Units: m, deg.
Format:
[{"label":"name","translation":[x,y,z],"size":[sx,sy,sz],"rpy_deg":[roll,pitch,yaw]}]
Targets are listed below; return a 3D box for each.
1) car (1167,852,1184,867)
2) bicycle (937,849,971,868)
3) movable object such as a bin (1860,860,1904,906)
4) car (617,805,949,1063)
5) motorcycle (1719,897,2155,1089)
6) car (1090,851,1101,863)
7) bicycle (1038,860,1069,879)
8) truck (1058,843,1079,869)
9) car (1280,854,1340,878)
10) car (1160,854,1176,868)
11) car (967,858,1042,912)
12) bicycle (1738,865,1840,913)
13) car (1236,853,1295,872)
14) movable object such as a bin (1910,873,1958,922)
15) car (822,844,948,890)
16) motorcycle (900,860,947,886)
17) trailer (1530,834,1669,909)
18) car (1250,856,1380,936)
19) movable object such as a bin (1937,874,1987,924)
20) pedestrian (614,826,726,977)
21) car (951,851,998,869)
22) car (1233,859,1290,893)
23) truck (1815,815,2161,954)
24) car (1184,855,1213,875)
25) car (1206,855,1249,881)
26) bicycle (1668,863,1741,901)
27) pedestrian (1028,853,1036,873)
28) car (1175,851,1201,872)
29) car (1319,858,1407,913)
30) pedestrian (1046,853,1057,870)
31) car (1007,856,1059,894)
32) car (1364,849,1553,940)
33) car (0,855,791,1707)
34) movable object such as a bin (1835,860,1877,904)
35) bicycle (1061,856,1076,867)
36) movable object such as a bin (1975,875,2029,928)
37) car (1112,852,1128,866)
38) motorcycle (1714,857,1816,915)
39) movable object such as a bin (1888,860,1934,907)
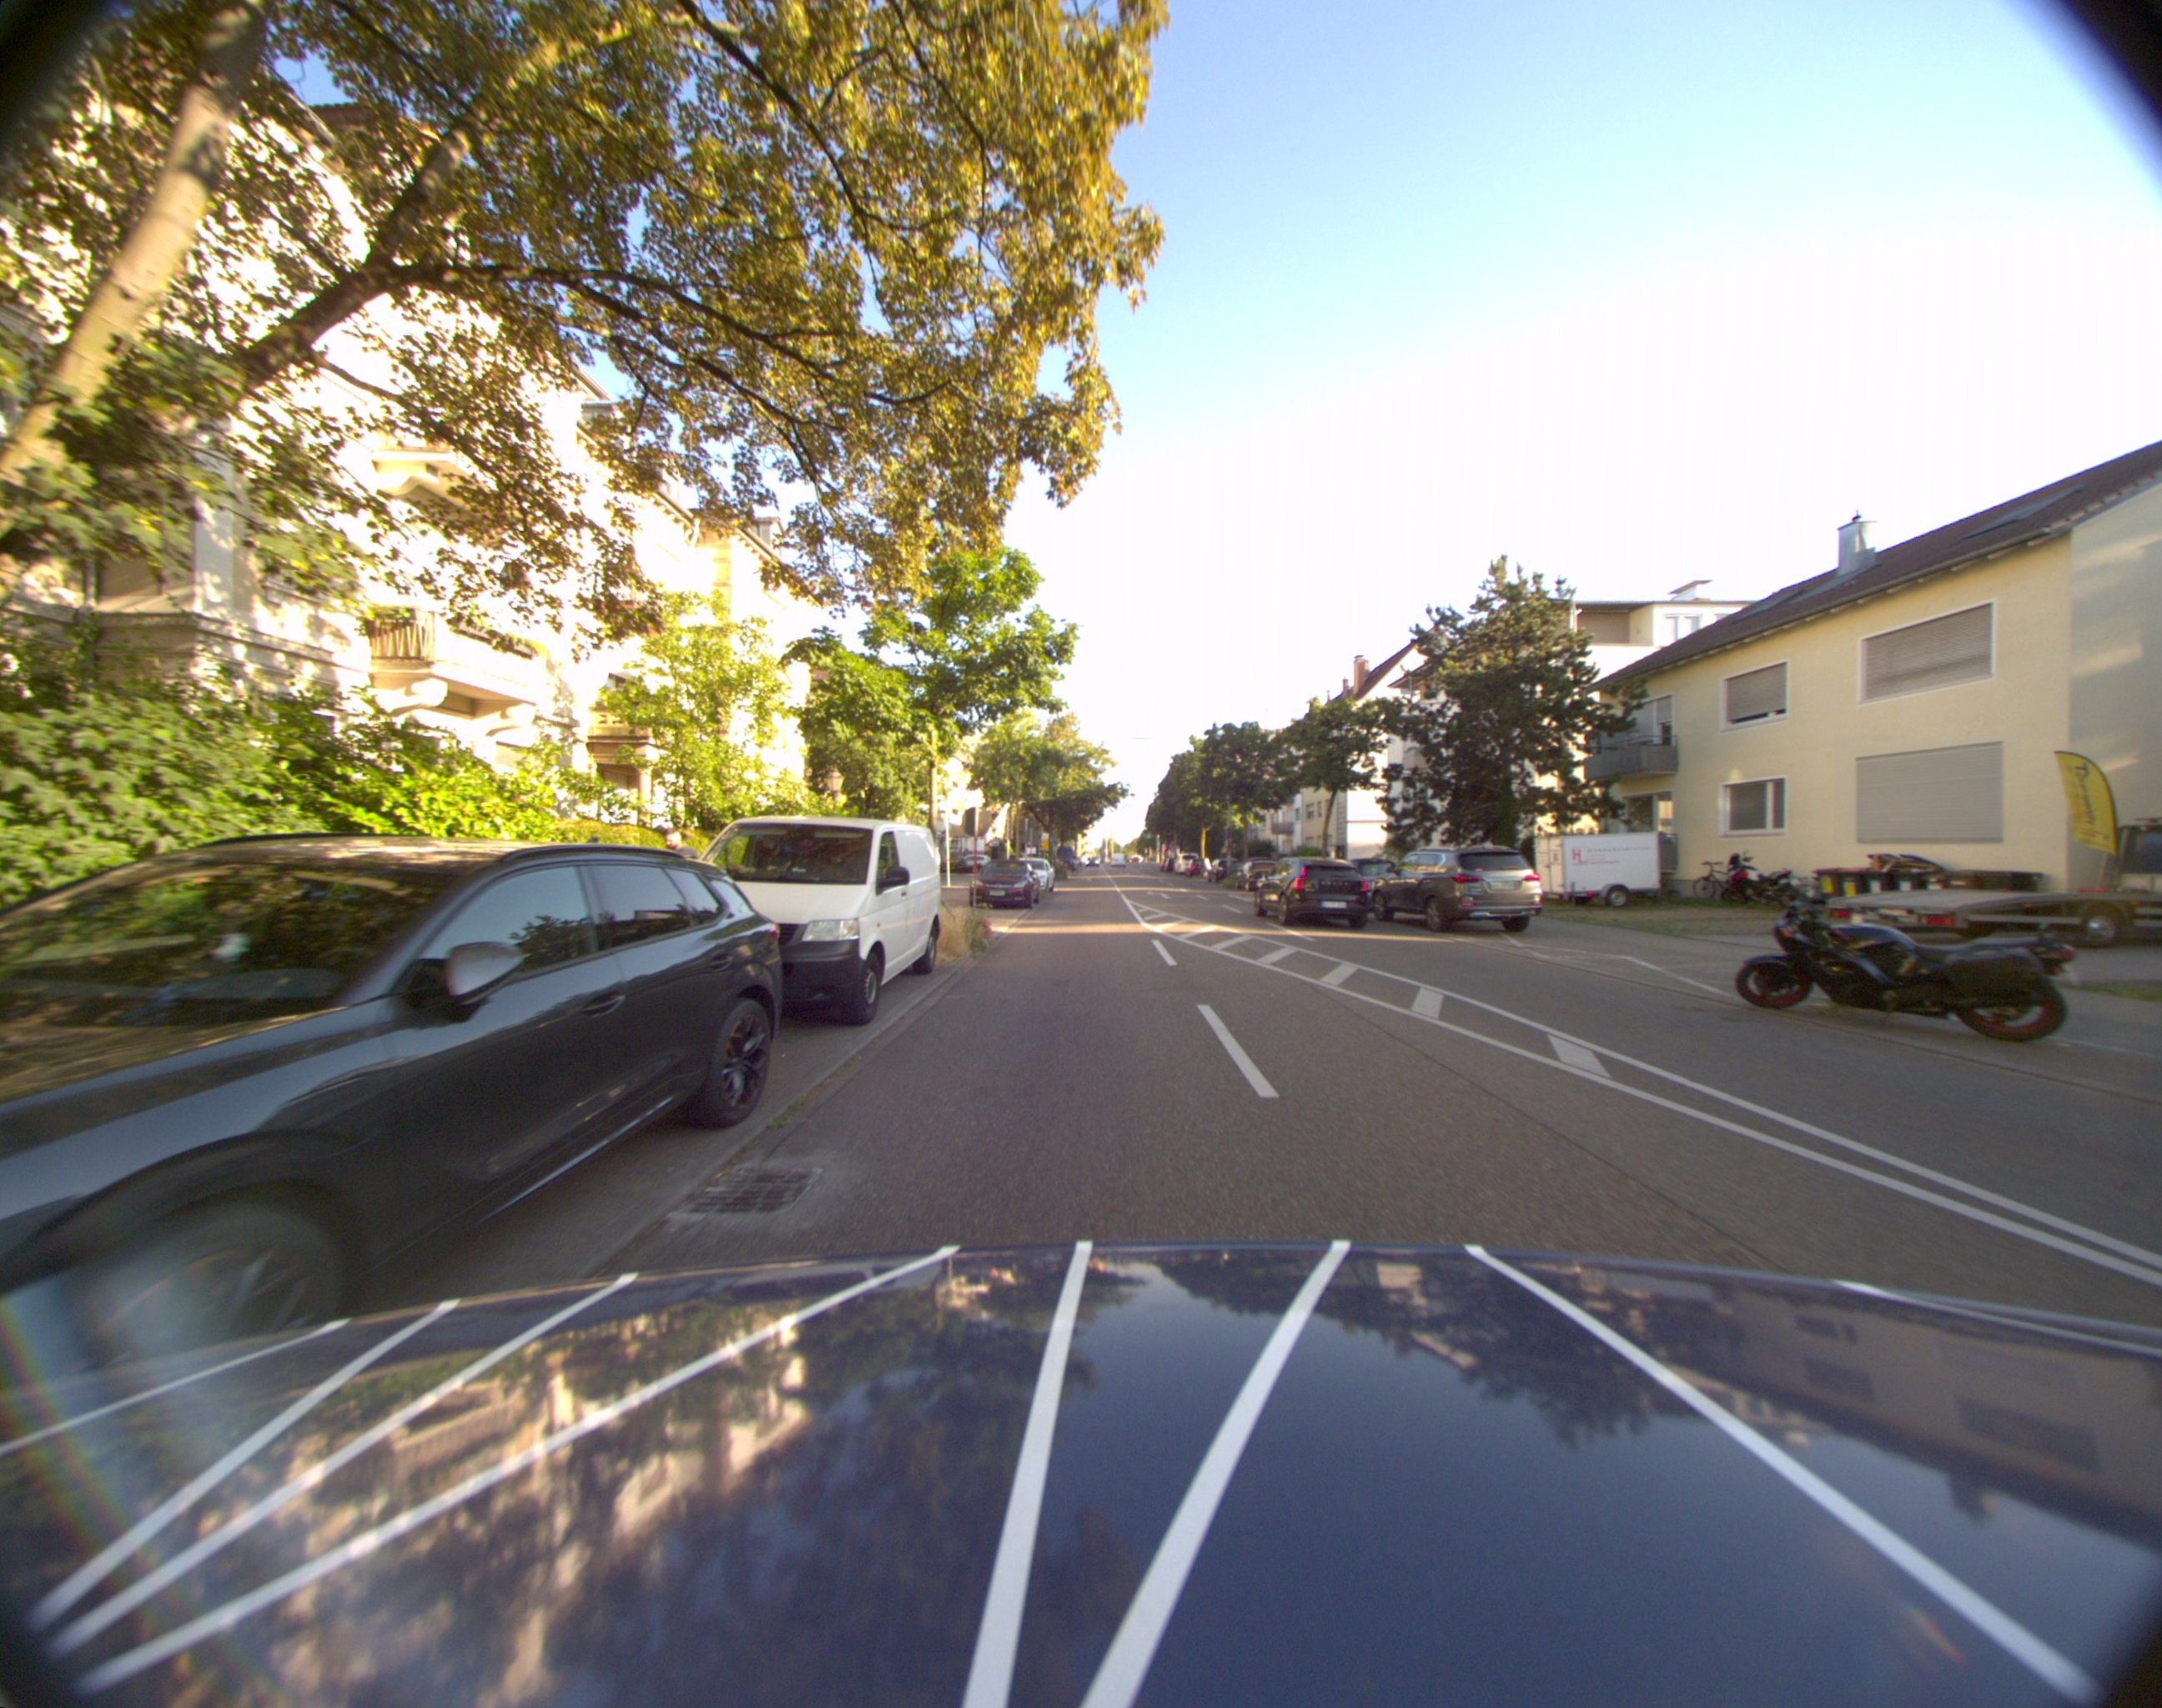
[{"label":"car","translation":[9.507,0.577,76.647],"size":[1.407,1.397,3.683],"rpy_deg":[-2,1,2]},{"label":"bicycle","translation":[-9.926,0.333,59.460],"size":[2.459,1.433,0.928],"rpy_deg":[0,1,-1]},{"label":"movable object such as a bin","translation":[18.256,0.654,17.321],"size":[0.504,1.013,0.450],"rpy_deg":[1,1,0]},{"label":"car","translation":[-2.819,0.646,8.490],"size":[1.908,2.091,4.640],"rpy_deg":[0,0,-1]},{"label":"motorcycle","translation":[7.560,1.105,6.932],"size":[1.184,1.258,2.365],"rpy_deg":[0,0,-23]},{"label":"car","translation":[2.065,0.452,107.419],"size":[1.596,1.696,4.000],"rpy_deg":[0,0,1]},{"label":"bicycle","translation":[-1.768,0.969,48.462],"size":[1.894,1.155,0.616],"rpy_deg":[2,1,28]},{"label":"truck","translation":[-1.255,0.169,78.657],"size":[1.998,2.629,5.616],"rpy_deg":[0,0,1]},{"label":"car","translation":[15.084,0.779,50.165],"size":[3.467,1.515,1.686],"rpy_deg":[0,0,2]},{"label":"car","translation":[9.238,0.741,81.176],"size":[1.407,1.456,3.683],"rpy_deg":[-2,1,2]},{"label":"car","translation":[-2.279,0.896,23.799],"size":[1.761,1.412,4.614],"rpy_deg":[2,0,1]},{"label":"bicycle","translation":[18.335,0.866,19.767],"size":[0.572,1.134,2.258],"rpy_deg":[0,0,1]},{"label":"car","translation":[15.546,0.714,64.101],"size":[4.563,1.397,1.739],"rpy_deg":[-2,1,-9]},{"label":"movable object such as a bin","translation":[18.193,0.923,16.211],"size":[0.504,1.013,0.450],"rpy_deg":[1,1,0]},{"label":"car","translation":[-8.427,0.520,32.708],"size":[4.947,1.888,1.916],"rpy_deg":[0,1,-28]},{"label":"motorcycle","translation":[-7.530,0.884,36.387],"size":[2.163,1.232,0.789],"rpy_deg":[0,1,-9]},{"label":"trailer","translation":[14.285,0.466,21.049],"size":[2.780,2.002,1.552],"rpy_deg":[0,1,-1]},{"label":"car","translation":[5.399,0.891,18.065],"size":[1.840,1.561,4.000],"rpy_deg":[2,1,1]},{"label":"movable object such as a bin","translation":[18.229,0.928,15.725],"size":[0.504,1.013,0.450],"rpy_deg":[1,1,0]},{"label":"pedestrian","translation":[-5.087,0.558,9.481],"size":[0.823,1.763,1.089],"rpy_deg":[0,1,-3]},{"label":"car","translation":[-9.186,0.534,65.599],"size":[3.877,1.496,1.575],"rpy_deg":[0,0,-4]},{"label":"car","translation":[8.324,0.972,35.340],"size":[1.641,1.399,4.444],"rpy_deg":[0,0,1]},{"label":"truck","translation":[17.217,0.483,13.060],"size":[6.911,2.172,2.277],"rpy_deg":[0,0,1]},{"label":"car","translation":[9.068,0.817,58.941],"size":[1.740,1.455,3.636],"rpy_deg":[0,0,1]},{"label":"car","translation":[8.866,0.842,46.193],"size":[1.862,1.477,4.000],"rpy_deg":[0,0,0]},{"label":"bicycle","translation":[18.716,0.827,22.866],"size":[0.520,1.057,2.046],"rpy_deg":[0,0,1]},{"label":"pedestrian","translation":[-4.423,0.822,68.652],"size":[0.619,1.761,0.562],"rpy_deg":[0,0,2]},{"label":"car","translation":[9.215,0.631,65.882],"size":[1.740,1.799,4.192],"rpy_deg":[0,0,1]},{"label":"car","translation":[8.350,0.892,22.699],"size":[1.577,1.546,2.749],"rpy_deg":[0,0,0]},{"label":"pedestrian","translation":[-2.569,0.645,65.739],"size":[0.917,1.435,0.811],"rpy_deg":[0,1,-1]},{"label":"car","translation":[-1.968,0.844,32.270],"size":[1.825,1.469,4.621],"rpy_deg":[0,0,1]},{"label":"car","translation":[8.196,0.777,17.104],"size":[1.892,1.769,4.726],"rpy_deg":[0,0,0]},{"label":"car","translation":[-2.828,0.849,2.674],"size":[1.860,1.594,4.311],"rpy_deg":[3,0,1]},{"label":"movable object such as a bin","translation":[18.221,0.653,17.865],"size":[0.504,1.013,0.450],"rpy_deg":[1,1,0]},{"label":"bicycle","translation":[-1.220,0.719,75.044],"size":[1.469,1.058,0.445],"rpy_deg":[0,1,1]},{"label":"movable object such as a bin","translation":[18.259,0.929,15.077],"size":[0.504,1.013,0.450],"rpy_deg":[1,1,0]},{"label":"car","translation":[5.390,0.618,104.770],"size":[1.893,1.793,4.430],"rpy_deg":[2,0,-1]},{"label":"motorcycle","translation":[17.366,0.772,19.374],"size":[0.572,1.366,2.258],"rpy_deg":[0,0,1]},{"label":"movable object such as a bin","translation":[18.335,0.653,16.792],"size":[0.504,1.013,0.450],"rpy_deg":[1,1,0]}]
